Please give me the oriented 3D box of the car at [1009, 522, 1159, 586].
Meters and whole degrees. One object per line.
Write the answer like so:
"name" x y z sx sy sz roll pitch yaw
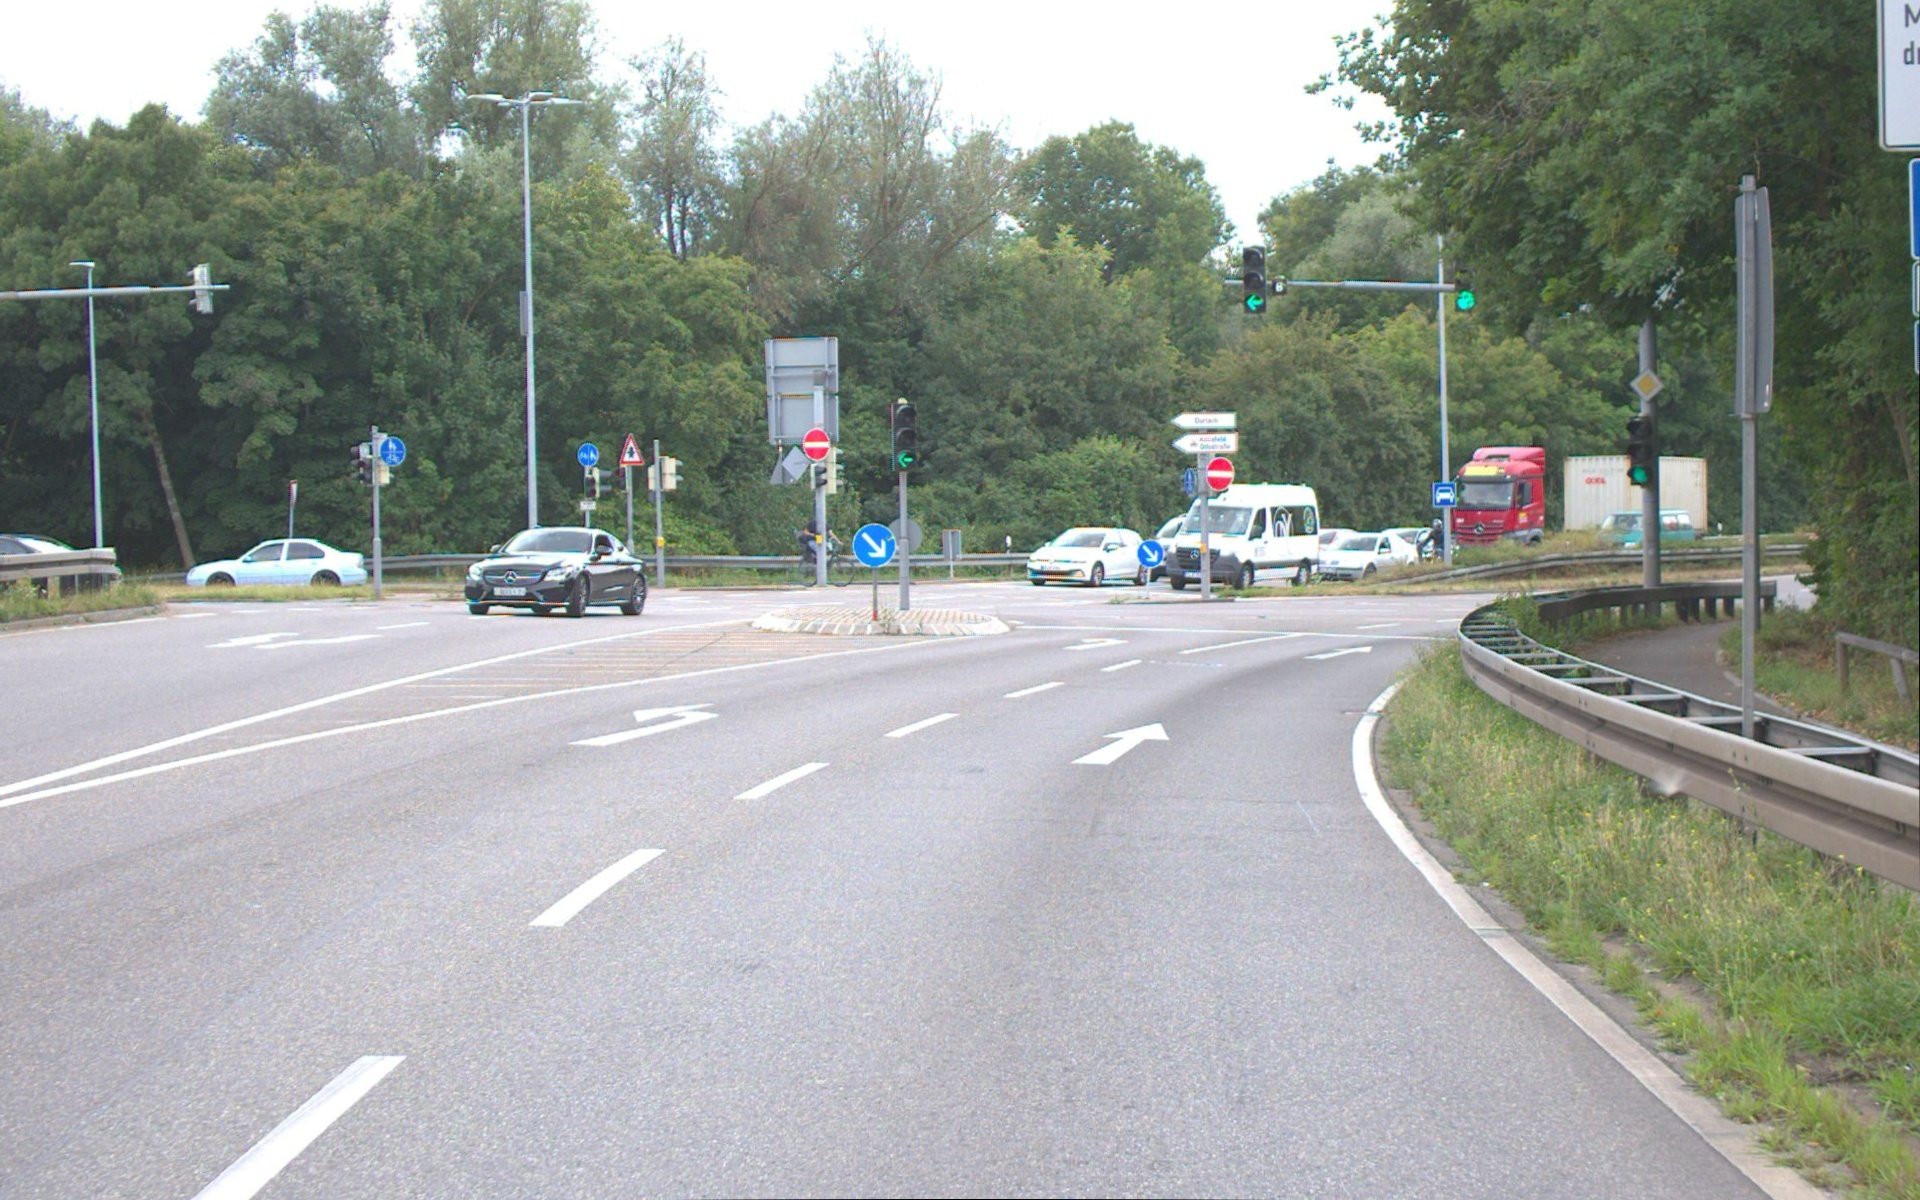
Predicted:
"car" 3.145 -1.158 86.478 1.996 1.541 4.532 2 2 28

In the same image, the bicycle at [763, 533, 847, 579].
"bicycle" -3.673 -1.029 81.274 1.942 1.049 0.706 -1 0 36

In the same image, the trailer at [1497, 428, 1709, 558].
"trailer" 21.617 -3.506 114.974 2.540 4.133 10.749 2 2 36

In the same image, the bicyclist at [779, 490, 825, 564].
"bicyclist" -3.733 -1.719 81.324 0.744 1.729 0.799 0 0 36

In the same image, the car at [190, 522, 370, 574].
"car" -16.633 -1.279 84.299 4.209 1.201 2.001 1 1 -8

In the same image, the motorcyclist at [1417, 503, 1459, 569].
"motorcyclist" 13.361 -1.790 96.094 0.867 1.817 0.924 2 1 30

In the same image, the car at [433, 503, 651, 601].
"car" -6.531 -0.777 54.236 1.994 1.450 4.651 1 1 12

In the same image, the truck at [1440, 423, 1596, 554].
"truck" 17.831 -3.517 109.669 2.573 4.069 5.611 2 2 36

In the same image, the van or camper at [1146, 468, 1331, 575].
"van or camper" 7.080 -1.970 86.682 2.164 2.580 6.485 2 2 29

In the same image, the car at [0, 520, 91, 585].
"car" -20.571 -1.035 72.400 4.064 1.305 1.997 2 1 26

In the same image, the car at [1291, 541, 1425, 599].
"car" 10.756 -0.821 92.712 1.997 1.493 4.393 2 2 30

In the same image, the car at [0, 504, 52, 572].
"car" -20.049 -1.257 67.742 3.799 1.305 1.997 2 1 26
